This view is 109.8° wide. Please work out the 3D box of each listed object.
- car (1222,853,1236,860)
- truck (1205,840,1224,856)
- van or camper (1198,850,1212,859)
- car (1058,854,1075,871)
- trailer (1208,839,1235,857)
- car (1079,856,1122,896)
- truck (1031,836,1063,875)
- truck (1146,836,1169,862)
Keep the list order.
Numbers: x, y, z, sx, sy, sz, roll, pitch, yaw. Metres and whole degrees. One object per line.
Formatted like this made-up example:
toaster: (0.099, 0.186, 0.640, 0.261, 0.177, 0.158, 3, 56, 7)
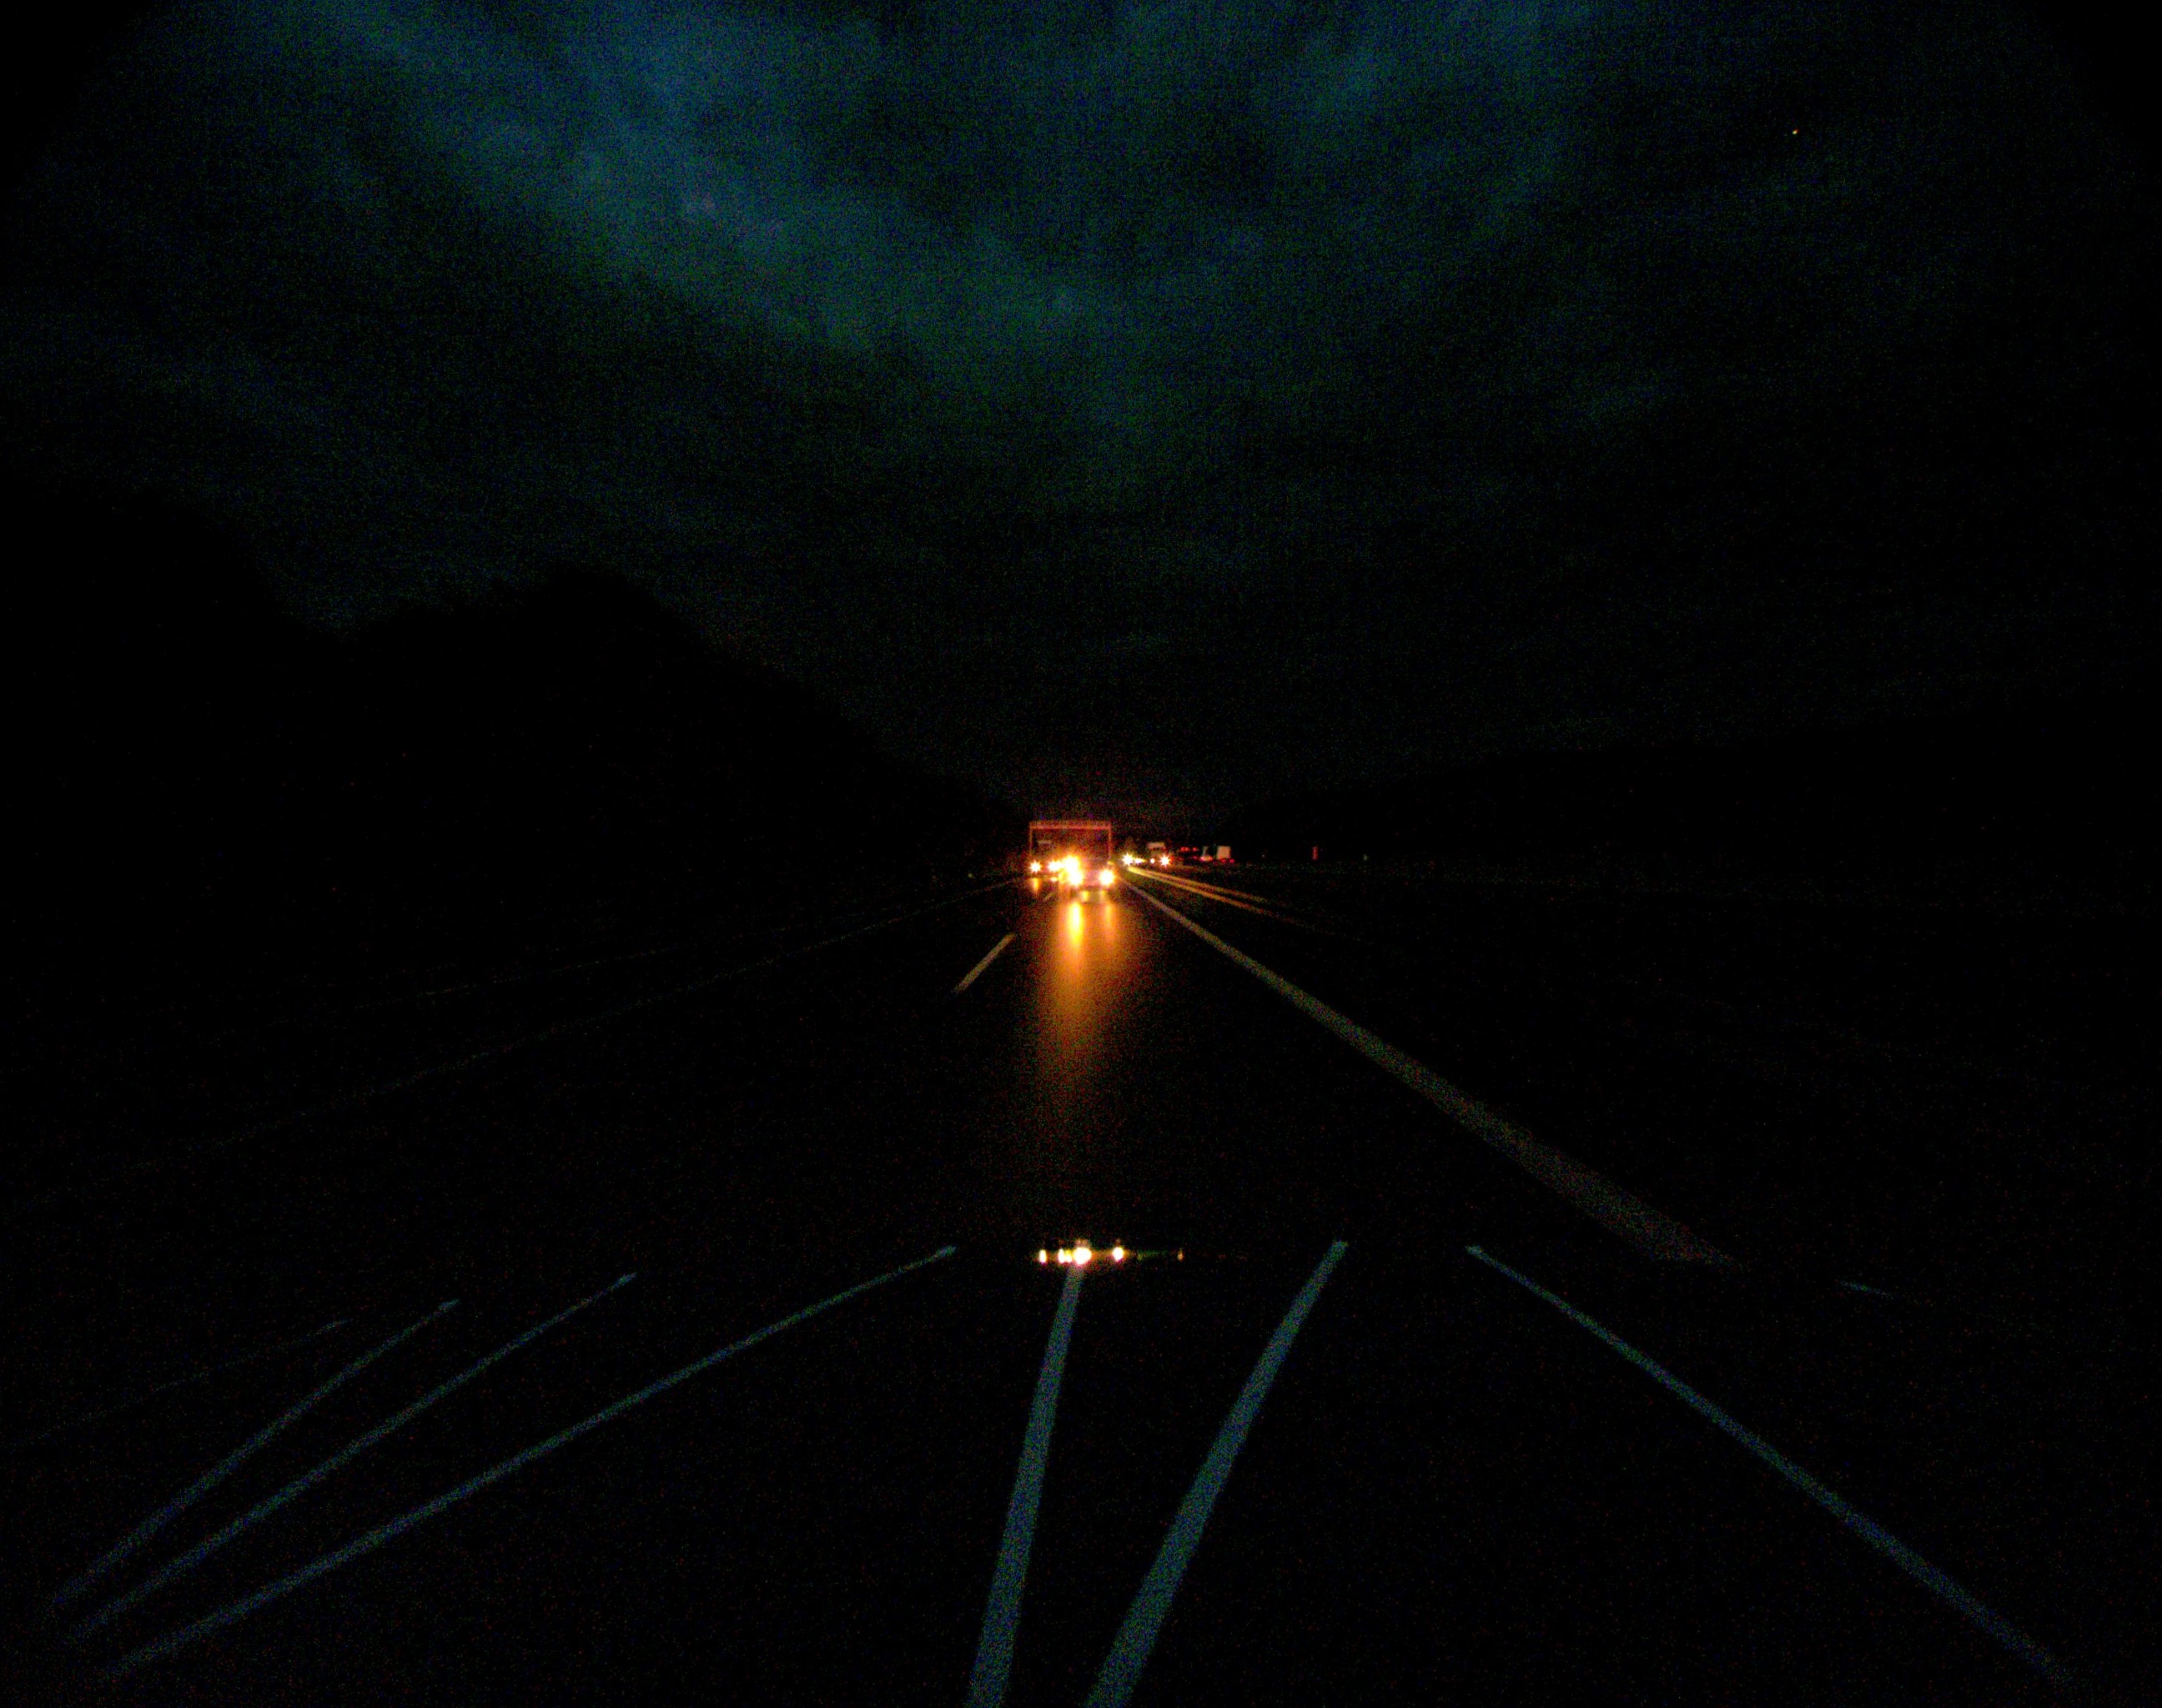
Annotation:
car: (26.715, 0.505, 137.285, 1.756, 1.243, 4.212, 0, 0, 1)
truck: (30.344, -1.317, 172.473, 3.318, 3.598, 5.497, 0, 1, 0)
van or camper: (25.882, 0.125, 158.735, 1.895, 1.895, 5.540, -1, 0, -1)
car: (-1.387, 0.831, 74.046, 1.615, 1.546, 3.318, 0, 1, -1)
trailer: (30.303, -1.326, 164.765, 3.335, 3.743, 13.884, 0, 0, 0)
car: (0.784, 0.871, 31.523, 1.669, 1.551, 3.757, 0, 0, 1)
truck: (-2.728, 0.104, 62.782, 2.274, 2.954, 6.631, -2, 0, 0)
truck: (12.989, -0.864, 129.621, 3.046, 4.276, 9.890, 0, 0, 0)
